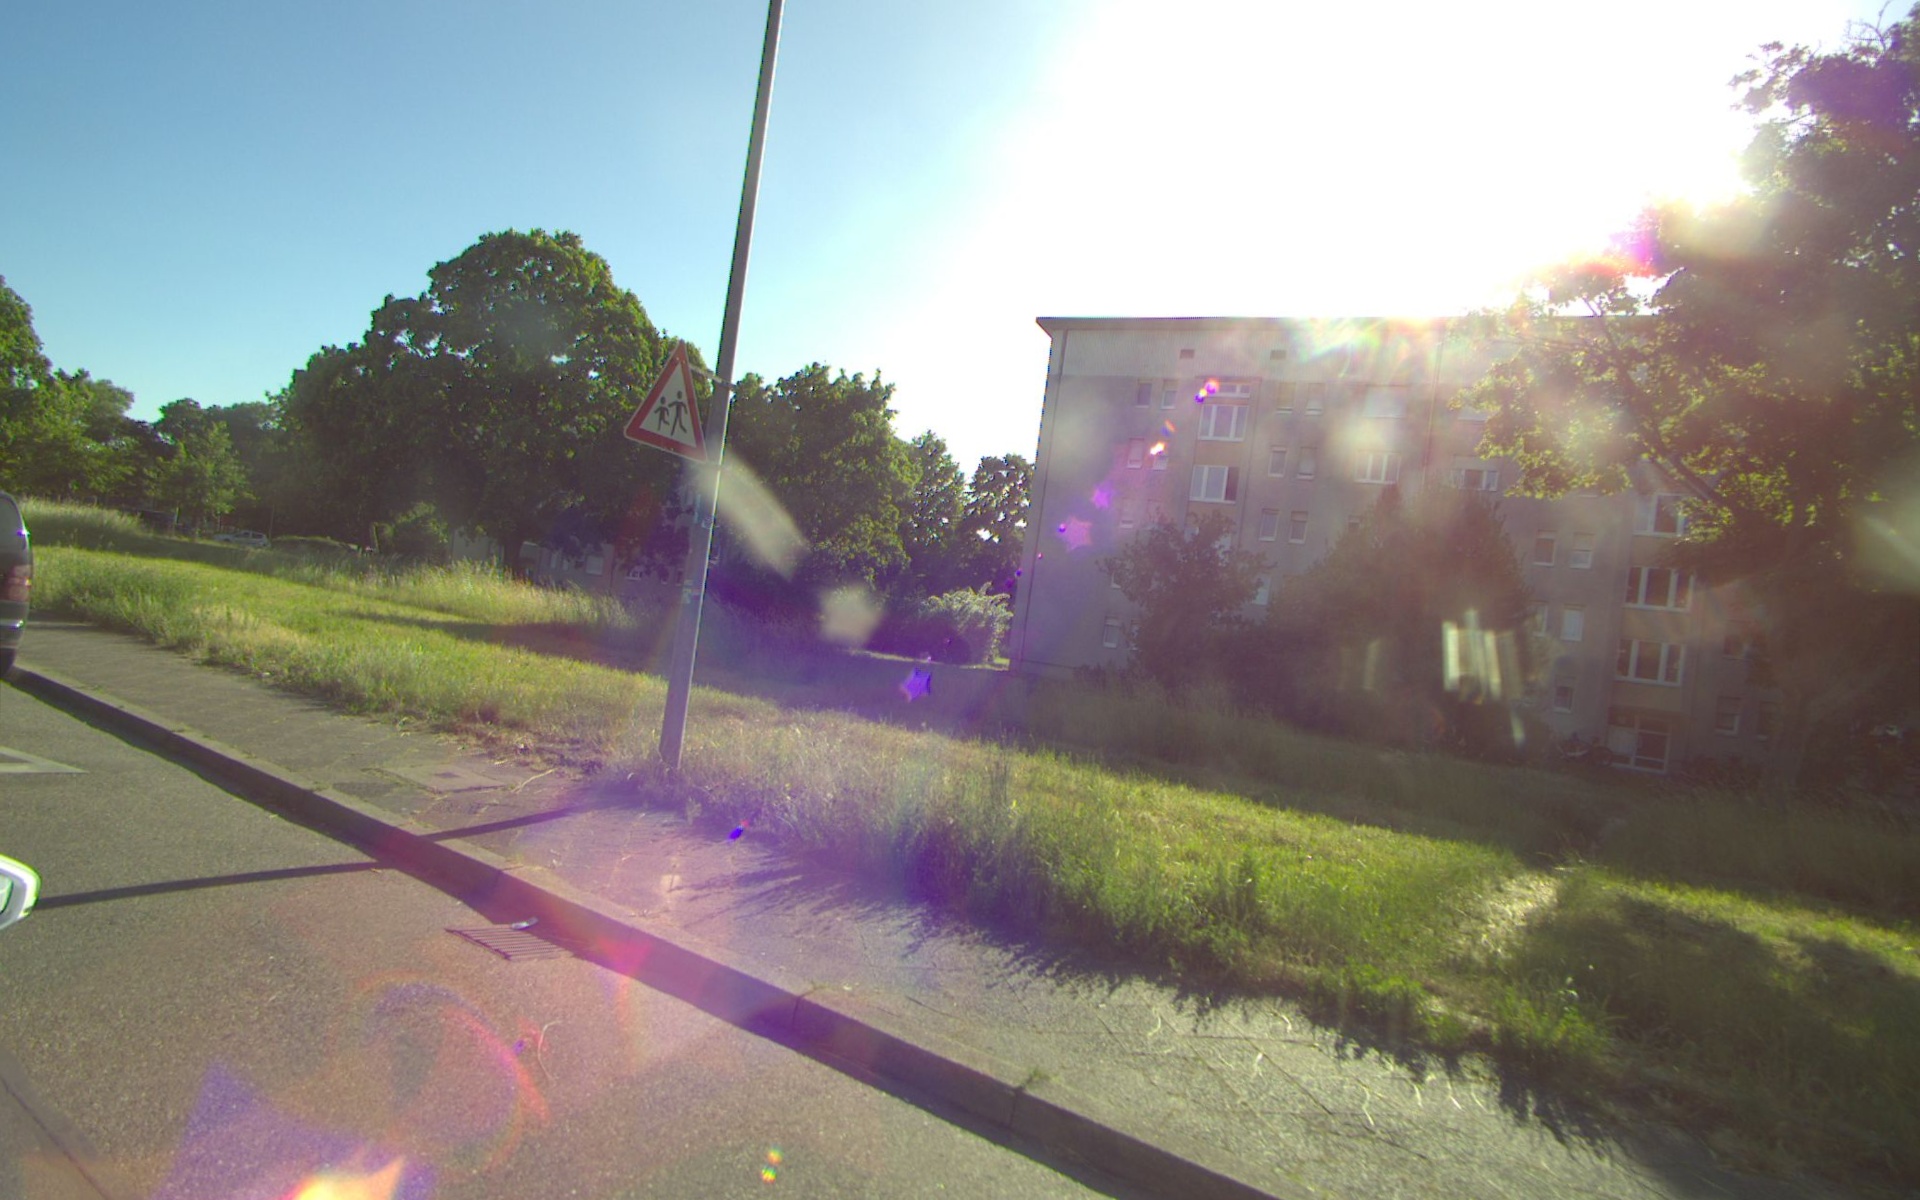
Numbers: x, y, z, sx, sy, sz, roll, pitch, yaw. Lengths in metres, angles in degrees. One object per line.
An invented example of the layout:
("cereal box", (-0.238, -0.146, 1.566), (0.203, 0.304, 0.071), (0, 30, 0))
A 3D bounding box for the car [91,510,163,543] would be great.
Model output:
("car", (-58.450, -5.145, 70.633), (3.693, 1.636, 1.680), (10, -4, -43))

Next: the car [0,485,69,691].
("car", (-9.646, -0.391, 8.634), (3.933, 1.627, 1.704), (7, -4, 31))

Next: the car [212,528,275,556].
("car", (-57.734, -4.669, 81.109), (1.676, 1.636, 3.701), (4, -4, 41))
